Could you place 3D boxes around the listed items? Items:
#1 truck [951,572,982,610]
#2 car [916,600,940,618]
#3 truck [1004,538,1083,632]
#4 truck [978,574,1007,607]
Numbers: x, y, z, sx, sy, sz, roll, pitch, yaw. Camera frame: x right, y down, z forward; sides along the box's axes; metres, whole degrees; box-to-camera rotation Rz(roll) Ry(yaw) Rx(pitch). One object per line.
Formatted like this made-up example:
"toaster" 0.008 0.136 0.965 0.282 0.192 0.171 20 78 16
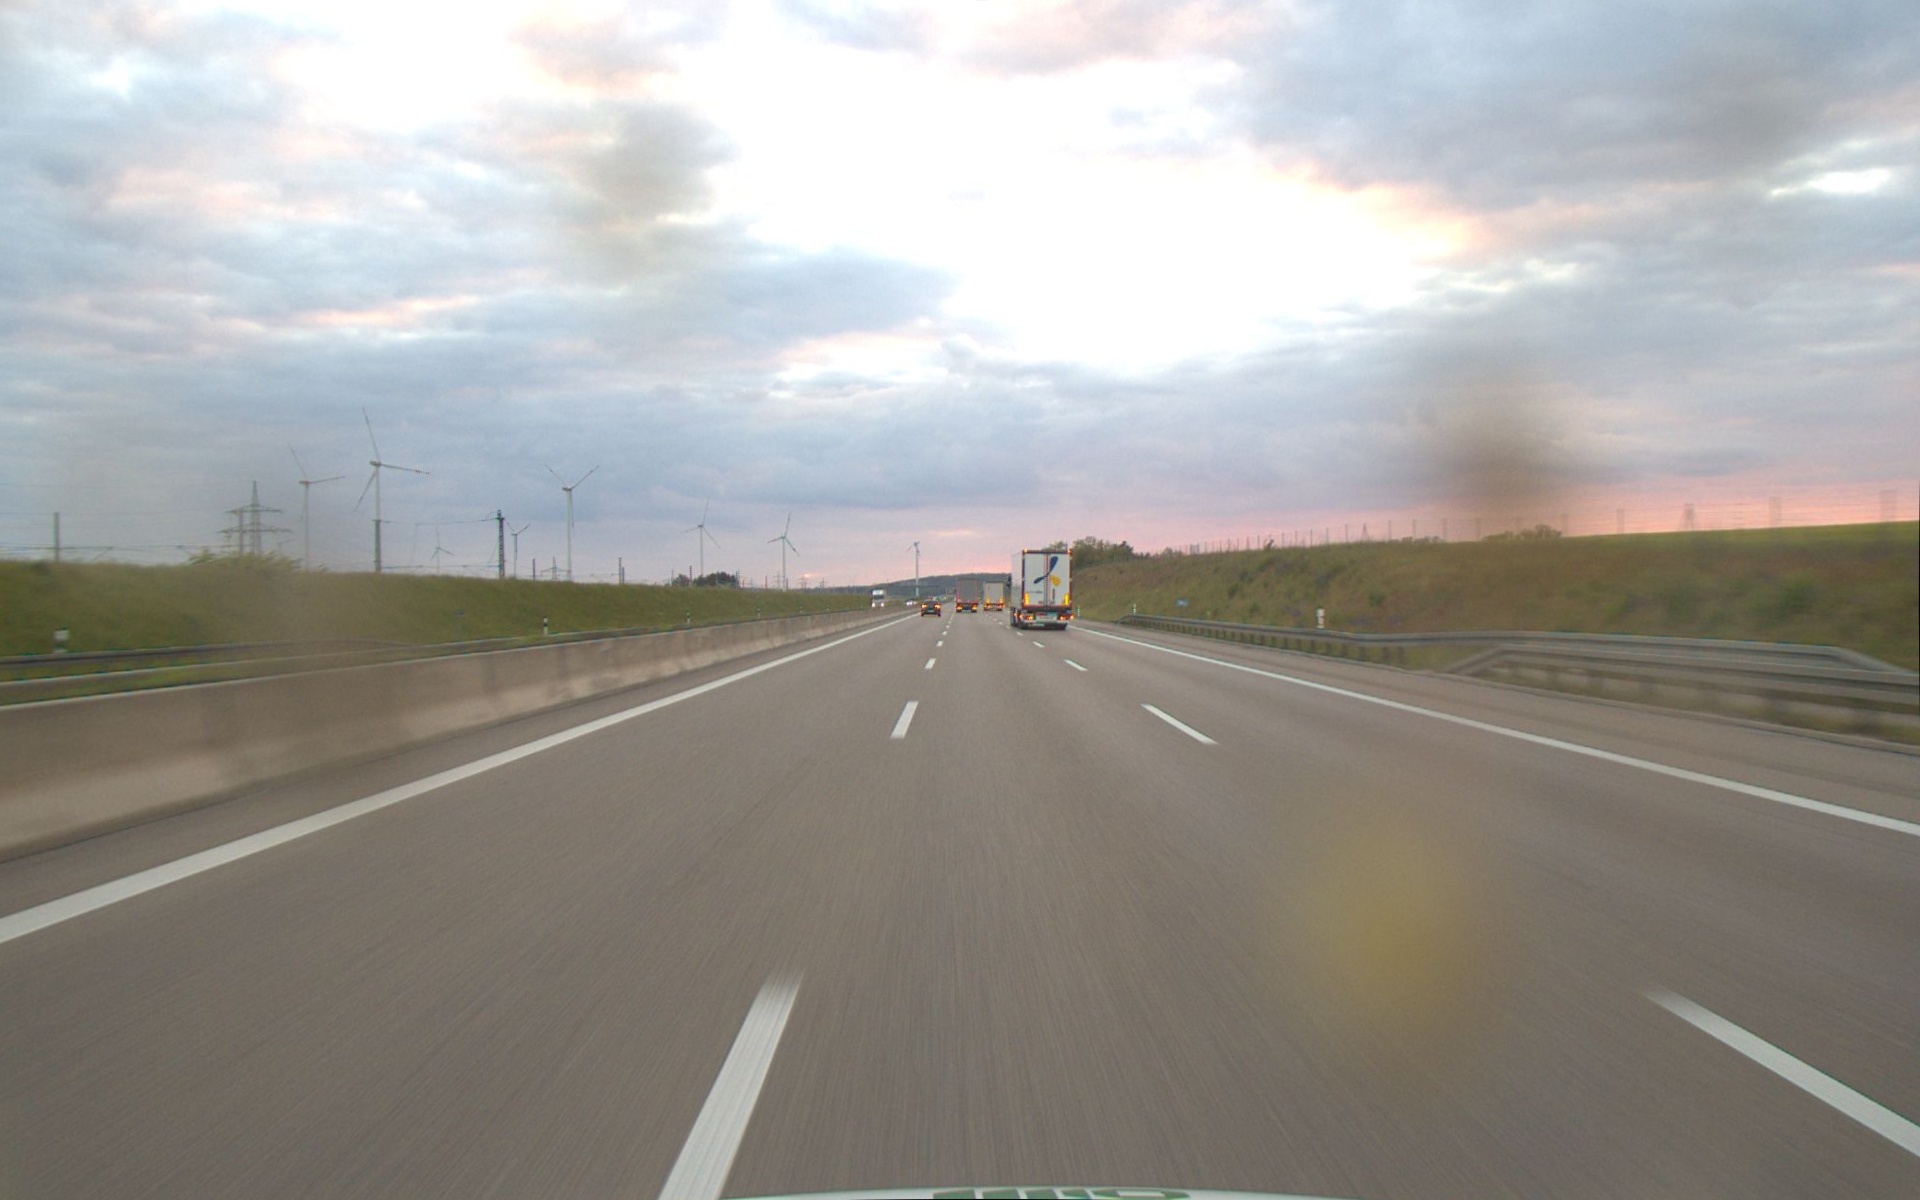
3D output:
"truck" 0.754 -1.119 199.406 3.573 4.491 8.634 0 0 -1
"car" -2.830 0.809 146.627 1.946 1.454 4.001 -1 1 1
"truck" 4.384 -0.790 89.020 3.600 4.644 10.980 -1 0 0
"truck" 4.575 -1.307 233.519 3.885 4.491 8.636 -1 0 0
